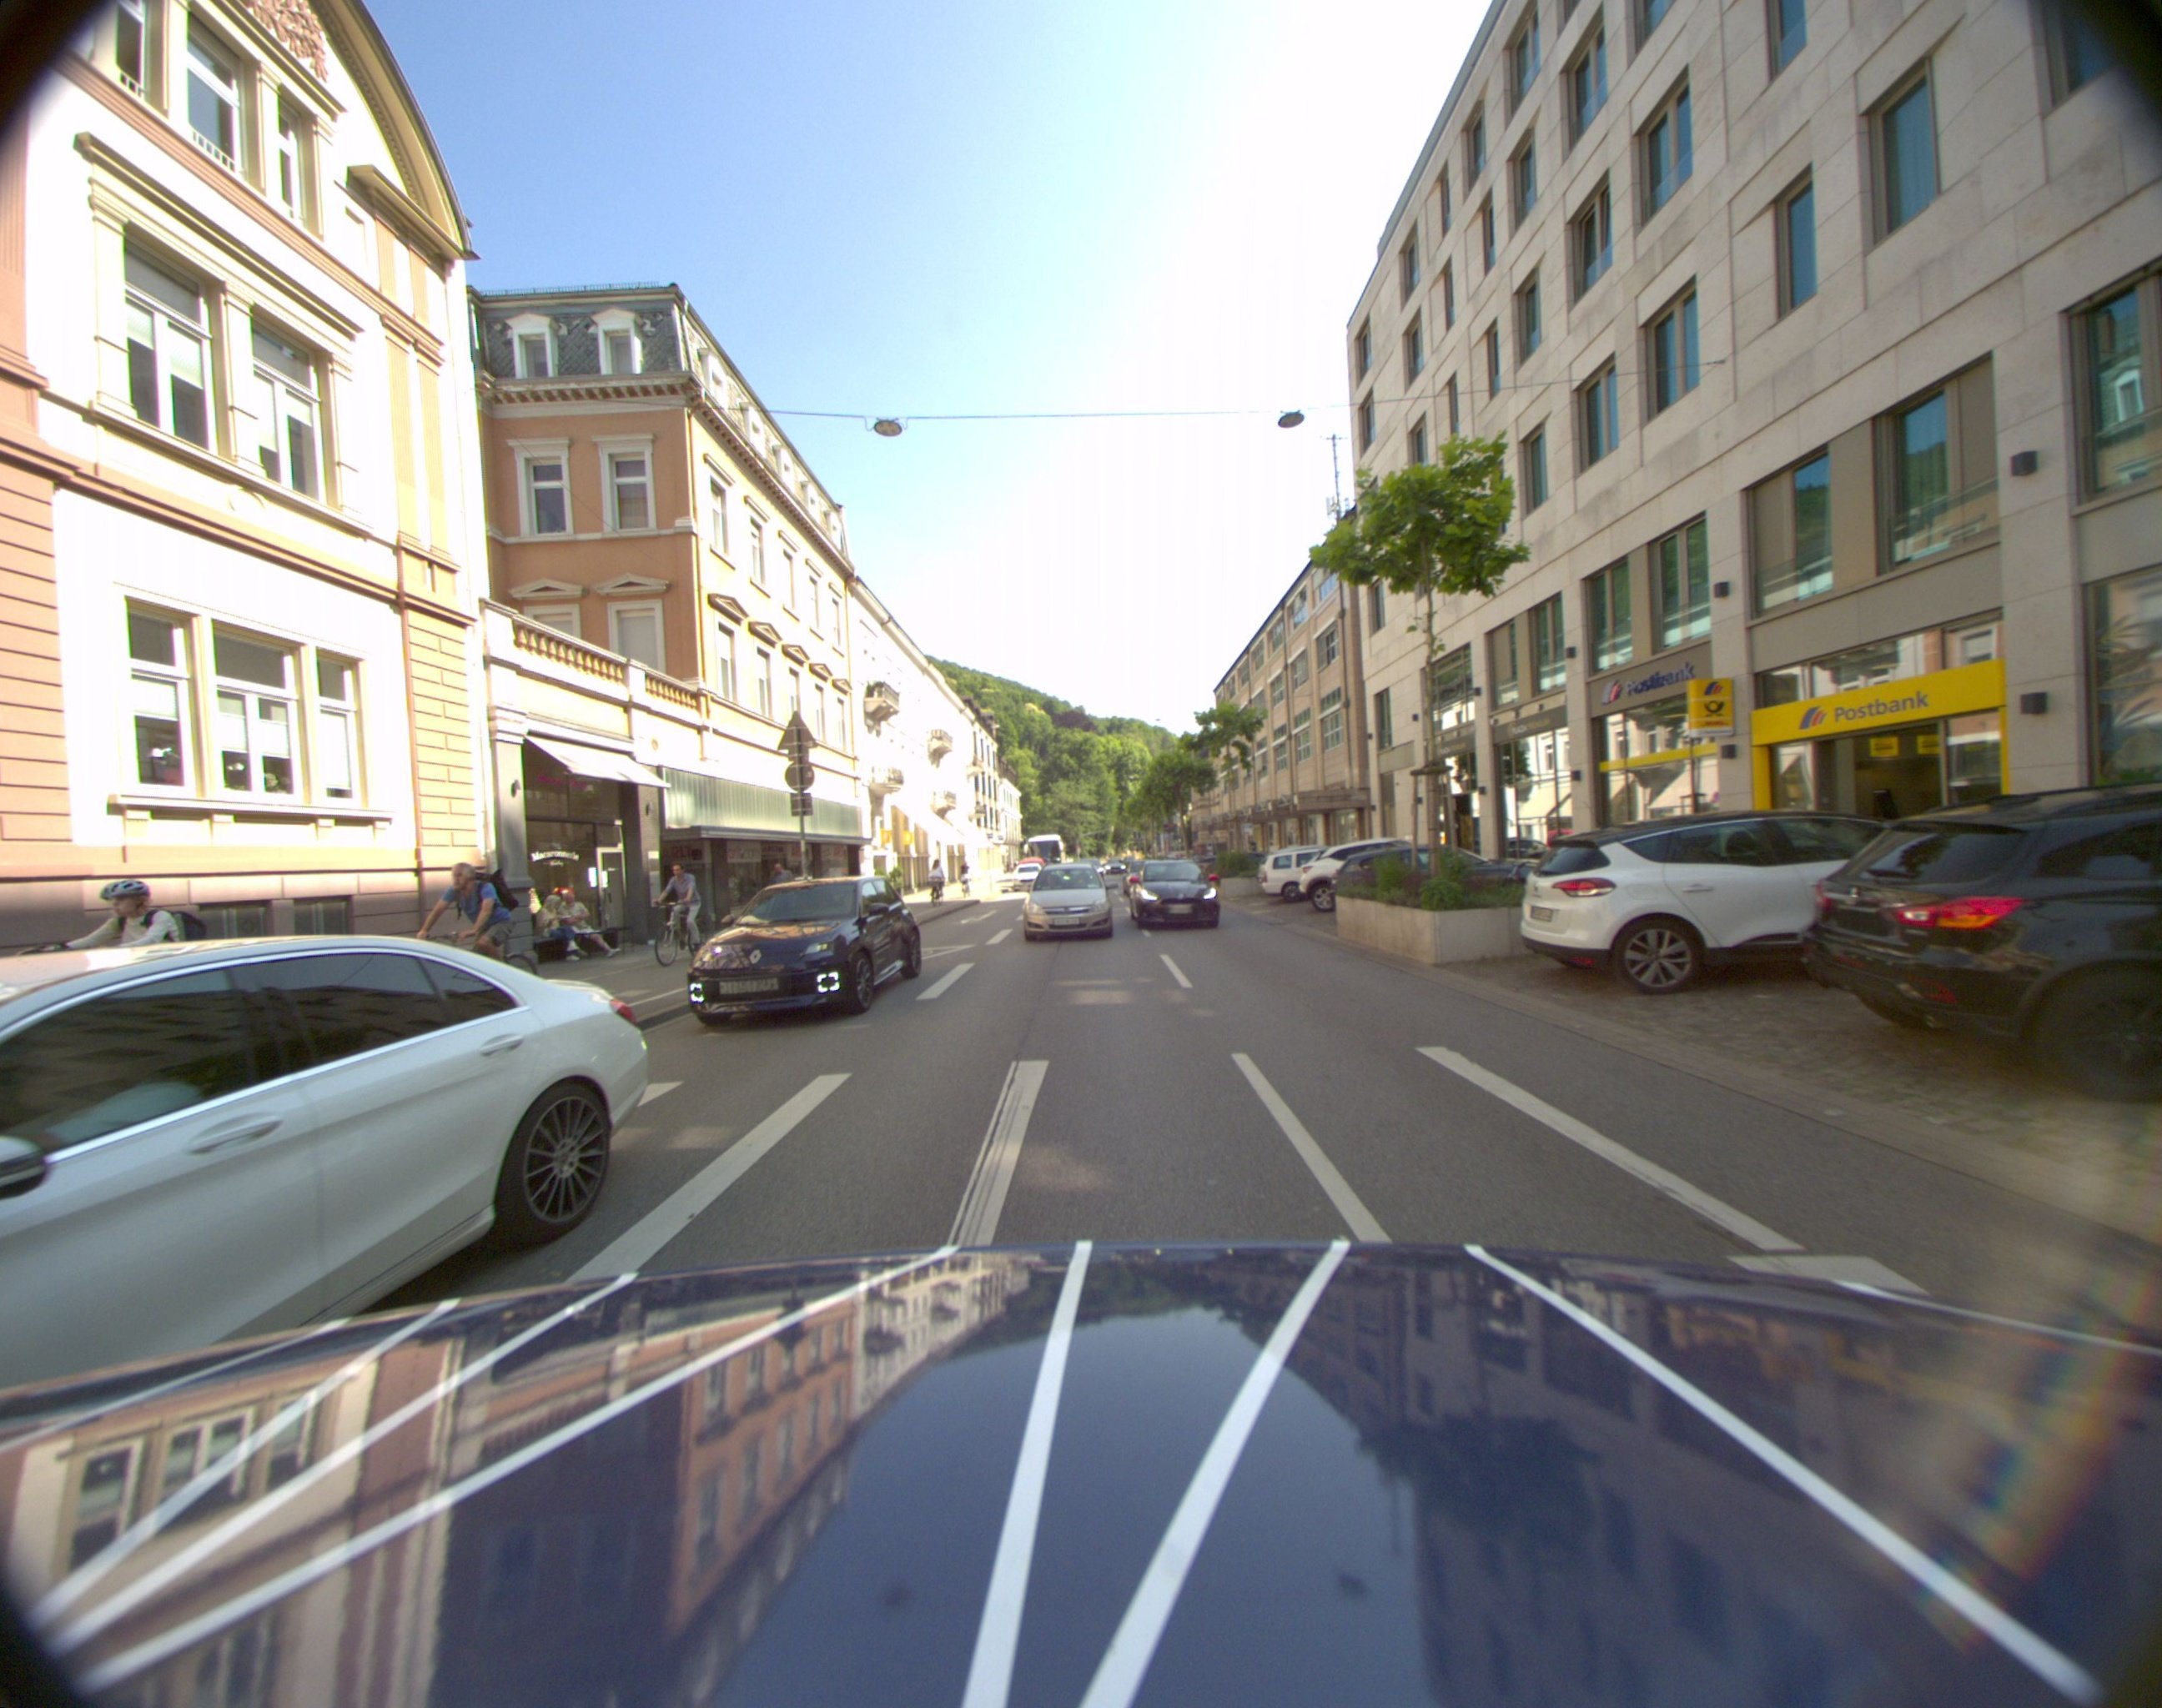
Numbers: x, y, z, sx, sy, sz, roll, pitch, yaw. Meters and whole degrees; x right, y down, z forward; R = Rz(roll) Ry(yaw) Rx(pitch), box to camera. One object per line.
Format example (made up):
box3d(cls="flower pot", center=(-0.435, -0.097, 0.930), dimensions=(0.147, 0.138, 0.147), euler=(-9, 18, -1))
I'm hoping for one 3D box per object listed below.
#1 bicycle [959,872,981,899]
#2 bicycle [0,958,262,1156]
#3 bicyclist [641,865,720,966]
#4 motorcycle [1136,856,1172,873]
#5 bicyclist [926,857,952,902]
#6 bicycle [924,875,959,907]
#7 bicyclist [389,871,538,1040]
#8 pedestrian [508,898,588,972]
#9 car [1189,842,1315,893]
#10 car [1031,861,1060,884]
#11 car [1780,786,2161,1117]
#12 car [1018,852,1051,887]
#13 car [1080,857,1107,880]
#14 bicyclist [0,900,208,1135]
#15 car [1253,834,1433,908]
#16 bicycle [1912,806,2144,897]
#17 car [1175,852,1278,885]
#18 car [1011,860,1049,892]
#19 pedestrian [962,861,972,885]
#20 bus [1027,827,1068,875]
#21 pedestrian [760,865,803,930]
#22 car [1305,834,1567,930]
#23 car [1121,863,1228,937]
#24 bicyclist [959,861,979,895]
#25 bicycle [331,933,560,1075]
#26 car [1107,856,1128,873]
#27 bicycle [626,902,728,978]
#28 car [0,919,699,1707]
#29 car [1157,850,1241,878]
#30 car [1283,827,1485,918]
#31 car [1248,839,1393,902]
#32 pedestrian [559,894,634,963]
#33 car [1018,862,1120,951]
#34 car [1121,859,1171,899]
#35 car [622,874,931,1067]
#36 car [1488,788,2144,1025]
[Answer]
box3d(cls="bicycle", center=(-5.216, 1.451, 35.689), dimensions=(0.596, 1.120, 2.094), euler=(-1, 1, 3))
box3d(cls="bicycle", center=(-7.557, 1.480, 5.758), dimensions=(0.607, 1.120, 1.860), euler=(-1, 0, 3))
box3d(cls="bicyclist", center=(-7.179, 1.073, 13.662), dimensions=(0.910, 1.707, 0.844), euler=(-2, 1, -2))
box3d(cls="motorcycle", center=(6.083, 0.872, 63.414), dimensions=(0.980, 1.342, 3.095), euler=(-3, 0, -42))
box3d(cls="bicyclist", center=(-5.515, 0.972, 29.590), dimensions=(0.747, 1.693, 1.036), euler=(-2, 1, 2))
box3d(cls="bicycle", center=(-5.474, 1.433, 29.949), dimensions=(0.743, 1.120, 2.573), euler=(-1, 1, 3))
box3d(cls="bicyclist", center=(-6.711, 1.063, 8.310), dimensions=(0.840, 1.707, 0.844), euler=(-2, 1, 2))
box3d(cls="pedestrian", center=(-10.128, 1.527, 14.470), dimensions=(1.032, 1.308, 0.625), euler=(-2, 0, 0))
box3d(cls="car", center=(6.937, 0.575, 31.003), dimensions=(4.521, 1.496, 1.795), euler=(-7, 0, 32))
box3d(cls="car", center=(-2.464, 1.261, 53.981), dimensions=(1.868, 1.479, 4.414), euler=(-3, 0, -1))
box3d(cls="car", center=(6.937, 0.386, 4.206), dimensions=(4.026, 1.593, 1.961), euler=(-5, 1, 24))
box3d(cls="car", center=(-2.930, 0.991, 48.825), dimensions=(1.703, 1.900, 4.607), euler=(-7, -1, -1))
box3d(cls="car", center=(0.843, 1.001, 51.524), dimensions=(1.775, 1.469, 4.107), euler=(-1, -1, 1))
box3d(cls="bicyclist", center=(-7.555, 1.203, 5.882), dimensions=(0.516, 1.626, 0.844), euler=(-2, 1, 2))
box3d(cls="car", center=(7.393, 0.478, 21.616), dimensions=(4.493, 1.424, 1.865), euler=(-8, 0, 21))
box3d(cls="bicycle", center=(13.101, -0.029, 10.644), dimensions=(0.497, 1.100, 2.161), euler=(-5, 0, 1))
box3d(cls="car", center=(6.867, 0.707, 36.268), dimensions=(1.736, 1.438, 4.609), euler=(-3, 0, -45))
box3d(cls="car", center=(-2.856, 1.199, 43.111), dimensions=(1.799, 1.515, 4.263), euler=(-6, 1, -1))
box3d(cls="pedestrian", center=(-7.966, 1.306, 52.991), dimensions=(0.482, 1.659, 0.868), euler=(-3, 0, 1))
box3d(cls="bus", center=(-2.659, -0.269, 64.716), dimensions=(2.924, 3.516, 12.498), euler=(-2, 0, -1))
box3d(cls="pedestrian", center=(-8.481, 1.216, 21.533), dimensions=(0.840, 1.781, 0.767), euler=(-2, 1, 2))
box3d(cls="car", center=(6.884, 0.575, 14.914), dimensions=(4.308, 1.441, 1.790), euler=(-6, 0, 35))
box3d(cls="car", center=(2.015, 0.971, 17.516), dimensions=(1.868, 1.469, 4.106), euler=(-1, -1, -1))
box3d(cls="bicyclist", center=(-5.248, 1.111, 35.569), dimensions=(0.747, 1.564, 0.844), euler=(-2, 1, 2))
box3d(cls="bicycle", center=(-6.674, 1.516, 8.157), dimensions=(0.664, 1.111, 1.992), euler=(-2, 0, 3))
box3d(cls="car", center=(3.339, 0.939, 70.012), dimensions=(1.733, 1.389, 4.107), euler=(-3, 0, 1))
box3d(cls="bicycle", center=(-7.185, 1.494, 13.634), dimensions=(0.748, 1.111, 1.918), euler=(-3, 0, 0))
box3d(cls="car", center=(-3.263, 1.162, 1.962), dimensions=(1.957, 1.416, 4.886), euler=(-5, 0, 0))
box3d(cls="car", center=(7.543, 0.680, 48.881), dimensions=(5.120, 1.623, 1.847), euler=(-3, 0, 40))
box3d(cls="car", center=(7.175, 0.458, 18.113), dimensions=(4.029, 1.584, 1.822), euler=(-8, 0, 34))
box3d(cls="car", center=(7.670, 0.490, 24.609), dimensions=(3.997, 1.519, 1.820), euler=(-6, 2, 0))
box3d(cls="pedestrian", center=(-9.638, 1.470, 15.145), dimensions=(1.088, 1.308, 0.625), euler=(0, 0, 0))
box3d(cls="car", center=(-0.253, 0.971, 16.024), dimensions=(1.791, 1.483, 4.367), euler=(-3, 0, -1))
box3d(cls="car", center=(2.589, 0.965, 31.050), dimensions=(1.733, 1.389, 4.106), euler=(-3, 0, 1))
box3d(cls="car", center=(-3.286, 1.156, 9.305), dimensions=(1.891, 1.483, 4.289), euler=(-5, 1, 0))
box3d(cls="car", center=(6.779, 0.493, 7.621), dimensions=(4.166, 1.627, 2.103), euler=(-7, 0, 10))
